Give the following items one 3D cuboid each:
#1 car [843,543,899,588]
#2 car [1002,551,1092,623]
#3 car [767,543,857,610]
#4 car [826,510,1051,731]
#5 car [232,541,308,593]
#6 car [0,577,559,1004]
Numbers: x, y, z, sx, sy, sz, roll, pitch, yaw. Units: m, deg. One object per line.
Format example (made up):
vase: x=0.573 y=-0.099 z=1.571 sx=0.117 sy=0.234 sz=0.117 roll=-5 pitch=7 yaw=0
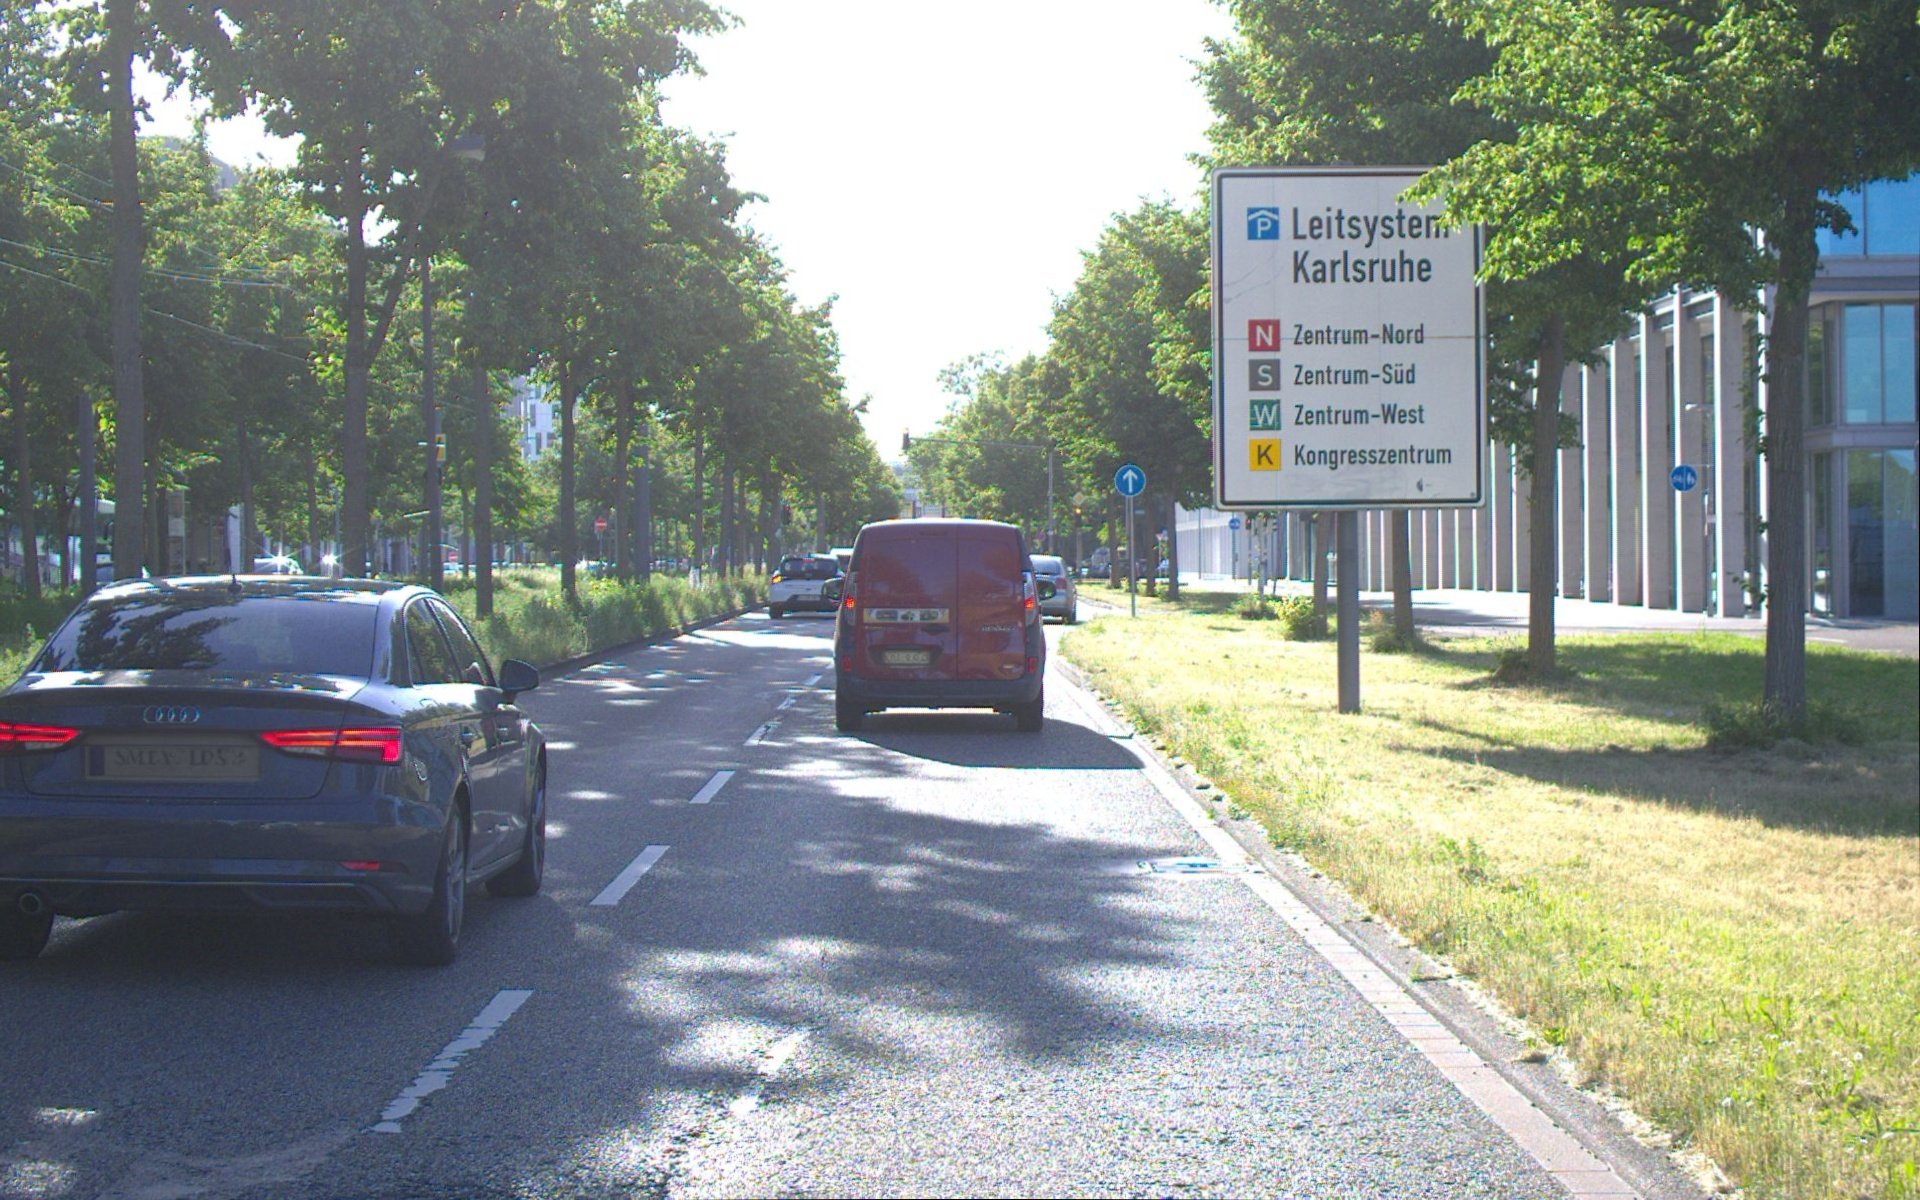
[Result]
car: x=-3.133 y=-1.229 z=121.574 sx=1.843 sy=1.529 sz=3.940 roll=-1 pitch=1 yaw=1
car: x=1.883 y=-0.300 z=75.168 sx=1.721 sy=1.420 sz=3.817 roll=1 pitch=2 yaw=-2
car: x=-3.333 y=-0.554 z=77.523 sx=1.942 sy=1.436 sz=4.001 roll=-1 pitch=1 yaw=-2
car: x=-0.220 y=0.137 z=30.132 sx=1.797 sy=1.771 sz=4.000 roll=1 pitch=1 yaw=-1
car: x=-23.730 y=-1.142 z=118.389 sx=1.797 sy=1.683 sz=4.321 roll=1 pitch=2 yaw=-1
car: x=-2.667 y=0.618 z=13.436 sx=1.721 sy=1.361 sz=4.146 roll=0 pitch=1 yaw=0
